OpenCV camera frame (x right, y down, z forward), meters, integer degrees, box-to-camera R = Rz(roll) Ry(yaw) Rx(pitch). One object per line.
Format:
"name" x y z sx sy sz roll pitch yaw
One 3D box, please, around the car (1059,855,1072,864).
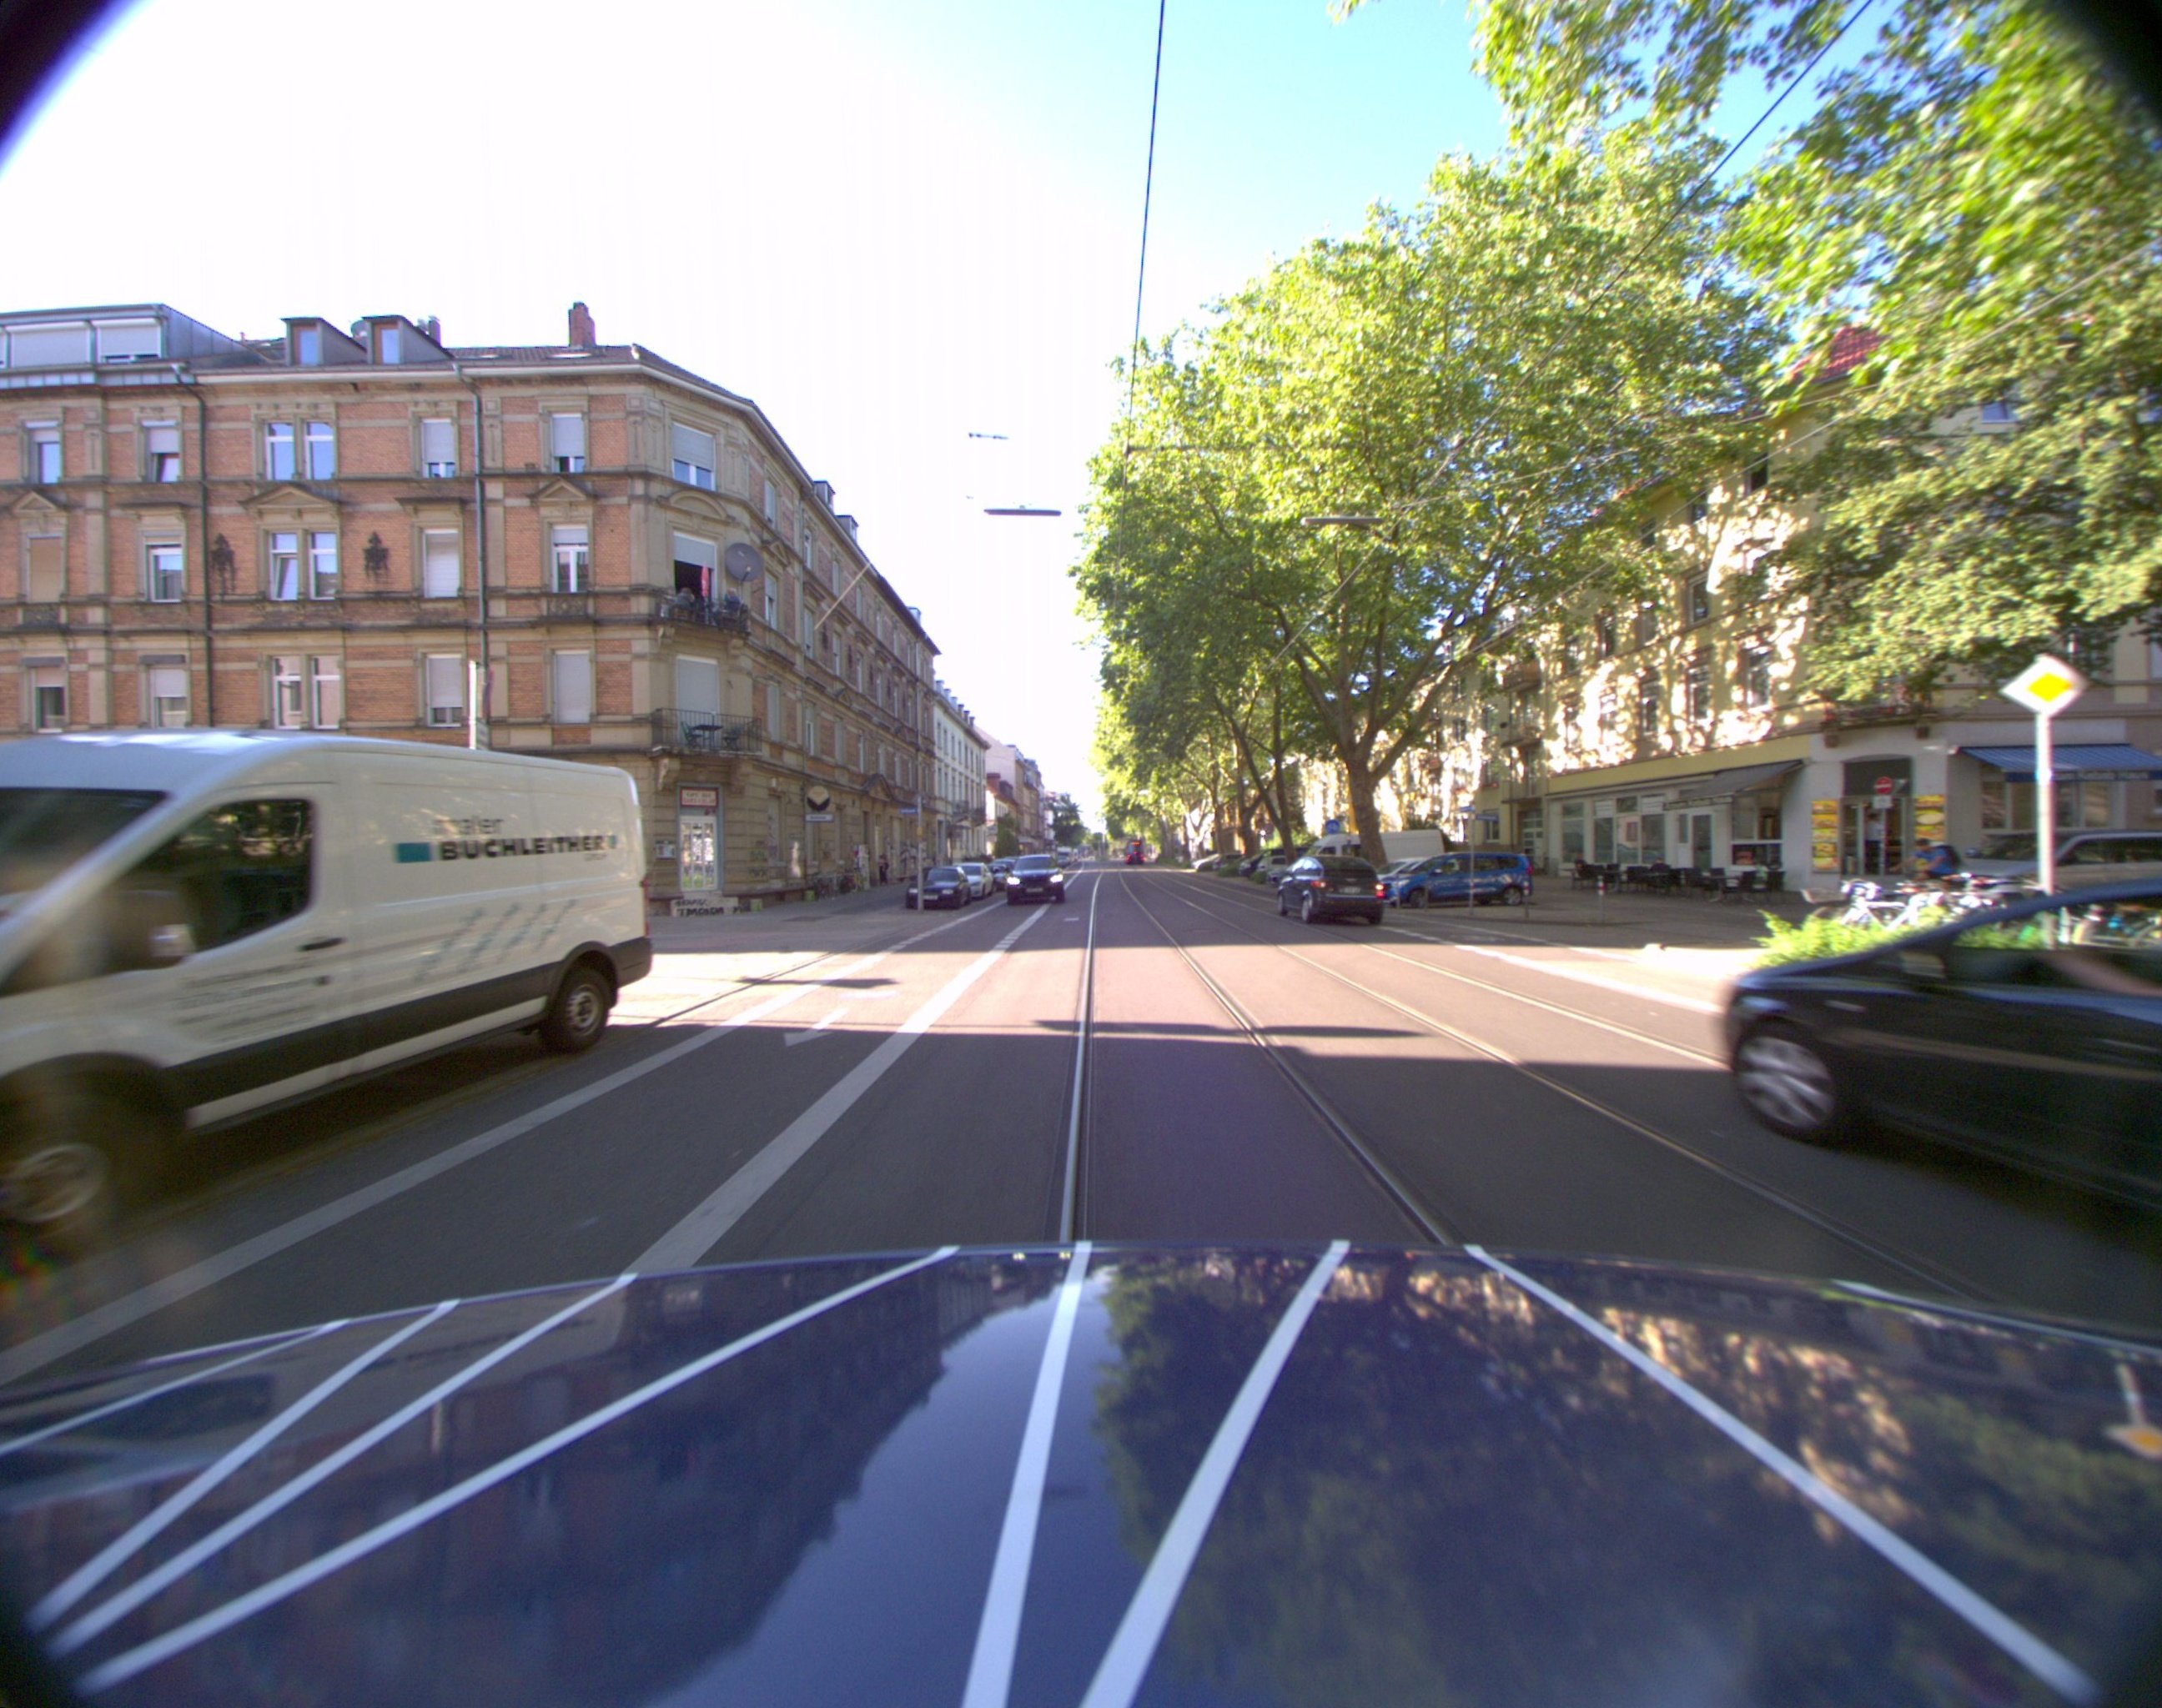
"car" -2.323 0.792 113.090 1.702 1.324 3.686 1 0 3

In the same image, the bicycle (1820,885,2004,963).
"bicycle" 12.180 1.009 11.195 1.858 1.082 0.397 -1 1 19

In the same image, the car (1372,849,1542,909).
"car" 11.460 0.722 23.361 4.331 1.702 1.816 -1 1 -2

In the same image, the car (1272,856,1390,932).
"car" 5.624 0.834 17.535 1.639 1.501 3.692 -2 0 3

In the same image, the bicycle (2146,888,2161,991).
"bicycle" 12.169 0.904 7.754 1.560 1.082 0.397 -1 1 19

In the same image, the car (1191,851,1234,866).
"car" 13.037 0.425 75.382 3.998 1.367 1.411 -1 1 -2

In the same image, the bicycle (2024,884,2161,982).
"bicycle" 12.109 0.898 8.765 1.560 1.082 0.397 -1 1 19

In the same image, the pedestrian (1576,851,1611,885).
"pedestrian" 18.947 0.511 28.099 0.708 1.234 0.930 -1 1 3

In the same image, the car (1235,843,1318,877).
"car" 12.213 0.388 47.595 4.639 1.896 1.922 -3 0 0

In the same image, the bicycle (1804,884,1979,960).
"bicycle" 12.319 1.013 11.603 1.858 1.082 0.397 -1 1 19

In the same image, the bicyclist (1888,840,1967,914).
"bicyclist" 17.935 0.476 16.113 0.868 1.517 0.736 -1 1 -1

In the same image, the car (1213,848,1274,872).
"car" 12.668 0.476 59.376 4.365 1.603 2.000 -3 0 2

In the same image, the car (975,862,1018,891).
"car" -4.185 1.102 37.981 1.653 1.265 3.724 1 1 1

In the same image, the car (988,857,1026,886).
"car" -4.137 0.952 42.902 1.610 1.444 3.741 1 1 3

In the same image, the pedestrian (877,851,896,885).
"pedestrian" -9.779 0.694 38.150 0.716 1.647 0.766 -1 1 1

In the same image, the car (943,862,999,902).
"car" -4.470 1.096 31.354 1.606 1.412 4.013 1 1 2

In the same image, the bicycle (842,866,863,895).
"bicycle" -9.508 1.076 31.644 0.379 1.147 1.373 -1 0 3

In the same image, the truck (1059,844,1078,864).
"truck" -2.021 -0.127 127.938 2.842 3.145 7.292 -3 1 1

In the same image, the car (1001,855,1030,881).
"car" -4.131 0.863 48.146 1.514 1.534 2.821 1 1 2

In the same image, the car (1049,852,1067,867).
"car" -2.503 0.621 83.077 1.702 1.559 3.686 1 1 3

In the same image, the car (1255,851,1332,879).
"car" 12.546 0.647 45.036 4.068 1.437 1.869 -3 0 2

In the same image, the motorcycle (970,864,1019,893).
"motorcycle" -3.990 1.115 35.104 2.143 1.281 0.642 -1 1 -20

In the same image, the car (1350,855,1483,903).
"car" 11.403 0.833 25.964 3.779 1.509 1.748 -1 0 -2

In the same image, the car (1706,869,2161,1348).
"car" 4.388 0.854 2.434 1.722 1.501 3.722 -1 0 0

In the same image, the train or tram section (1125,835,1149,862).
"train or tram section" 7.975 -0.863 108.985 2.944 3.598 11.062 -3 1 3

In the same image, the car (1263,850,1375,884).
"car" 11.841 0.655 38.072 4.943 1.437 2.000 -3 0 2

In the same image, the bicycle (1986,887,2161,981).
"bicycle" 12.196 0.951 9.226 1.560 1.082 0.397 -1 1 19

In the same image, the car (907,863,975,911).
"car" -4.690 1.073 25.970 1.653 1.412 4.059 1 1 -1

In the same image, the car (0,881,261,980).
"car" -16.679 1.231 12.708 4.034 1.447 1.790 -1 1 2

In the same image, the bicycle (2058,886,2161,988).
"bicycle" 11.967 0.908 8.339 1.560 1.082 0.397 -1 1 19

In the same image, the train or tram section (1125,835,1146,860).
"train or tram section" 8.498 -1.030 120.139 2.944 3.598 11.259 -3 1 3

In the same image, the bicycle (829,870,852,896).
"bicycle" -9.487 1.135 29.993 0.379 0.995 1.373 -1 0 3

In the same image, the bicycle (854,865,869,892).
"bicycle" -9.515 1.052 32.940 0.274 1.147 1.139 -1 1 3

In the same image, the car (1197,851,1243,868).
"car" 12.807 0.508 70.074 3.998 1.422 1.528 -1 1 -2

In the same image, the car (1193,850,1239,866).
"car" 12.876 0.410 72.554 3.998 1.422 1.601 -1 1 -2

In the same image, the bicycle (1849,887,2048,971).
"bicycle" 11.940 1.010 10.514 1.858 1.082 0.397 -1 1 19

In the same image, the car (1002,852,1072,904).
"car" -1.482 0.829 27.615 1.948 1.694 4.632 -2 -1 3

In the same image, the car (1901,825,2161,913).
"car" 22.947 0.319 17.936 4.582 1.870 2.128 -1 3 5

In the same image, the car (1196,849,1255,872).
"car" 11.662 0.512 61.613 4.365 1.603 2.000 -3 0 2

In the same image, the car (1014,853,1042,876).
"car" -3.871 0.743 56.140 1.635 1.497 3.907 4 1 1

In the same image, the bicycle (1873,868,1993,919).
"bicycle" 18.058 0.834 16.130 1.875 1.025 0.628 -1 0 -1

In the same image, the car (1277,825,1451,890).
"car" 12.021 0.166 32.588 6.618 2.393 2.000 -3 0 2

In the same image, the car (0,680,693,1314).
"car" -5.281 0.557 5.017 2.154 2.481 6.088 -1 1 1
